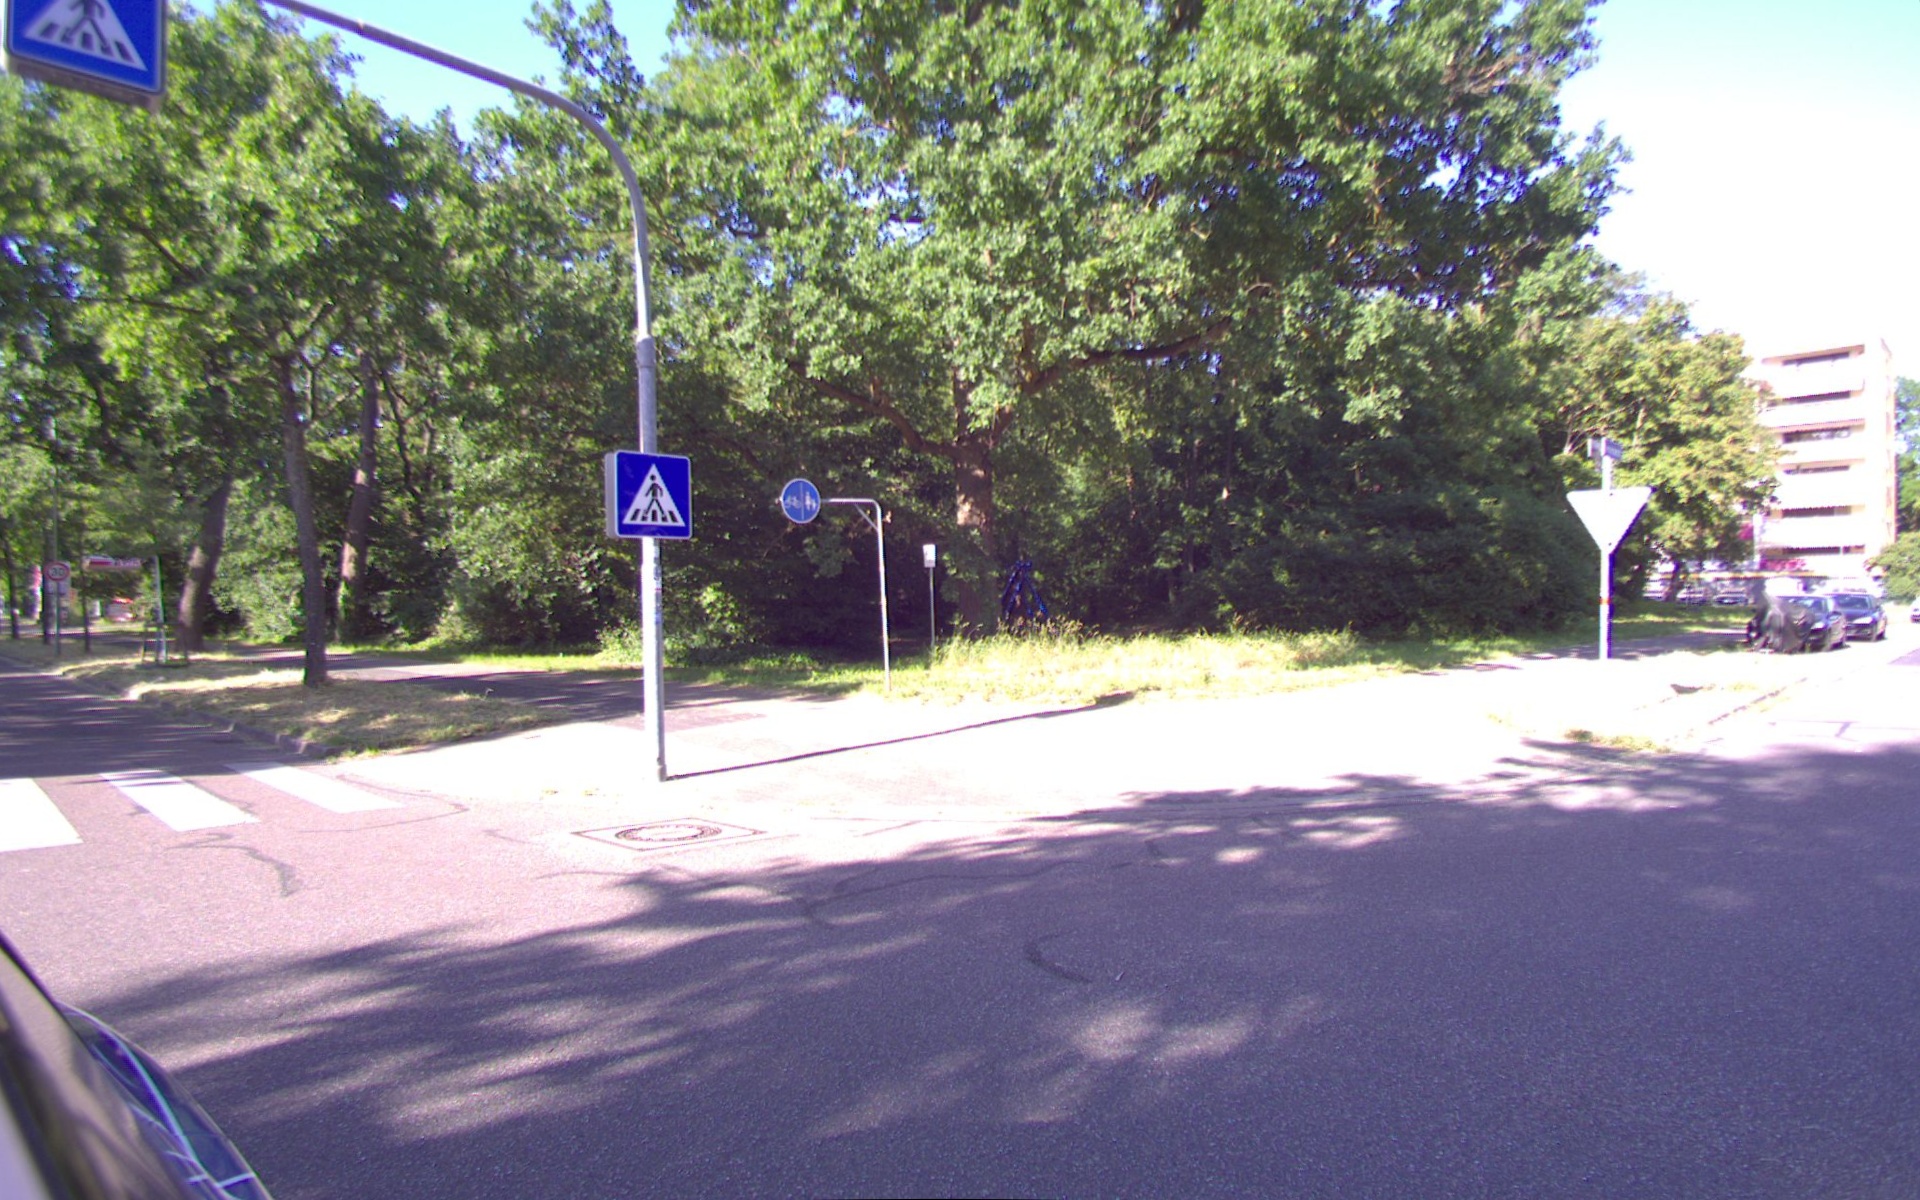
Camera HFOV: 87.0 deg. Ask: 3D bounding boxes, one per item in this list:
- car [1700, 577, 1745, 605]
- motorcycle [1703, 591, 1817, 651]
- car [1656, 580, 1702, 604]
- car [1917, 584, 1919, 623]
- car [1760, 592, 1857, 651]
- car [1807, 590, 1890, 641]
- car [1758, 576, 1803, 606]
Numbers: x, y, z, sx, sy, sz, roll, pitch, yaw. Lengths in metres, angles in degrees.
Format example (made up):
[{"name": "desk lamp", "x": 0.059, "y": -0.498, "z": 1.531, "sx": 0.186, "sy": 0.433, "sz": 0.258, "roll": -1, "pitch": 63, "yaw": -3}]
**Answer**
[{"name": "car", "x": 49.877, "y": -0.598, "z": 66.171, "sx": 3.779, "sy": 1.757, "sz": 1.764, "roll": -1, "pitch": 0, "yaw": -44}, {"name": "motorcycle", "x": 18.683, "y": 0.484, "z": 23.678, "sx": 1.944, "sy": 1.354, "sz": 0.672, "roll": -1, "pitch": 0, "yaw": 16}, {"name": "car", "x": 47.969, "y": -0.517, "z": 67.481, "sx": 3.779, "sy": 1.538, "sz": 1.802, "roll": -1, "pitch": 0, "yaw": -44}, {"name": "car", "x": 41.488, "y": 0.110, "z": 42.539, "sx": 3.779, "sy": 1.569, "sz": 1.647, "roll": -1, "pitch": 0, "yaw": -44}, {"name": "car", "x": 22.143, "y": 0.516, "z": 26.371, "sx": 3.535, "sy": 1.402, "sz": 1.561, "roll": -1, "pitch": 0, "yaw": -44}, {"name": "car", "x": 26.697, "y": 0.441, "z": 30.363, "sx": 3.535, "sy": 1.402, "sz": 1.561, "roll": -1, "pitch": 0, "yaw": -44}, {"name": "car", "x": 51.671, "y": -0.577, "z": 63.706, "sx": 3.779, "sy": 1.757, "sz": 1.764, "roll": -1, "pitch": 0, "yaw": -44}]
